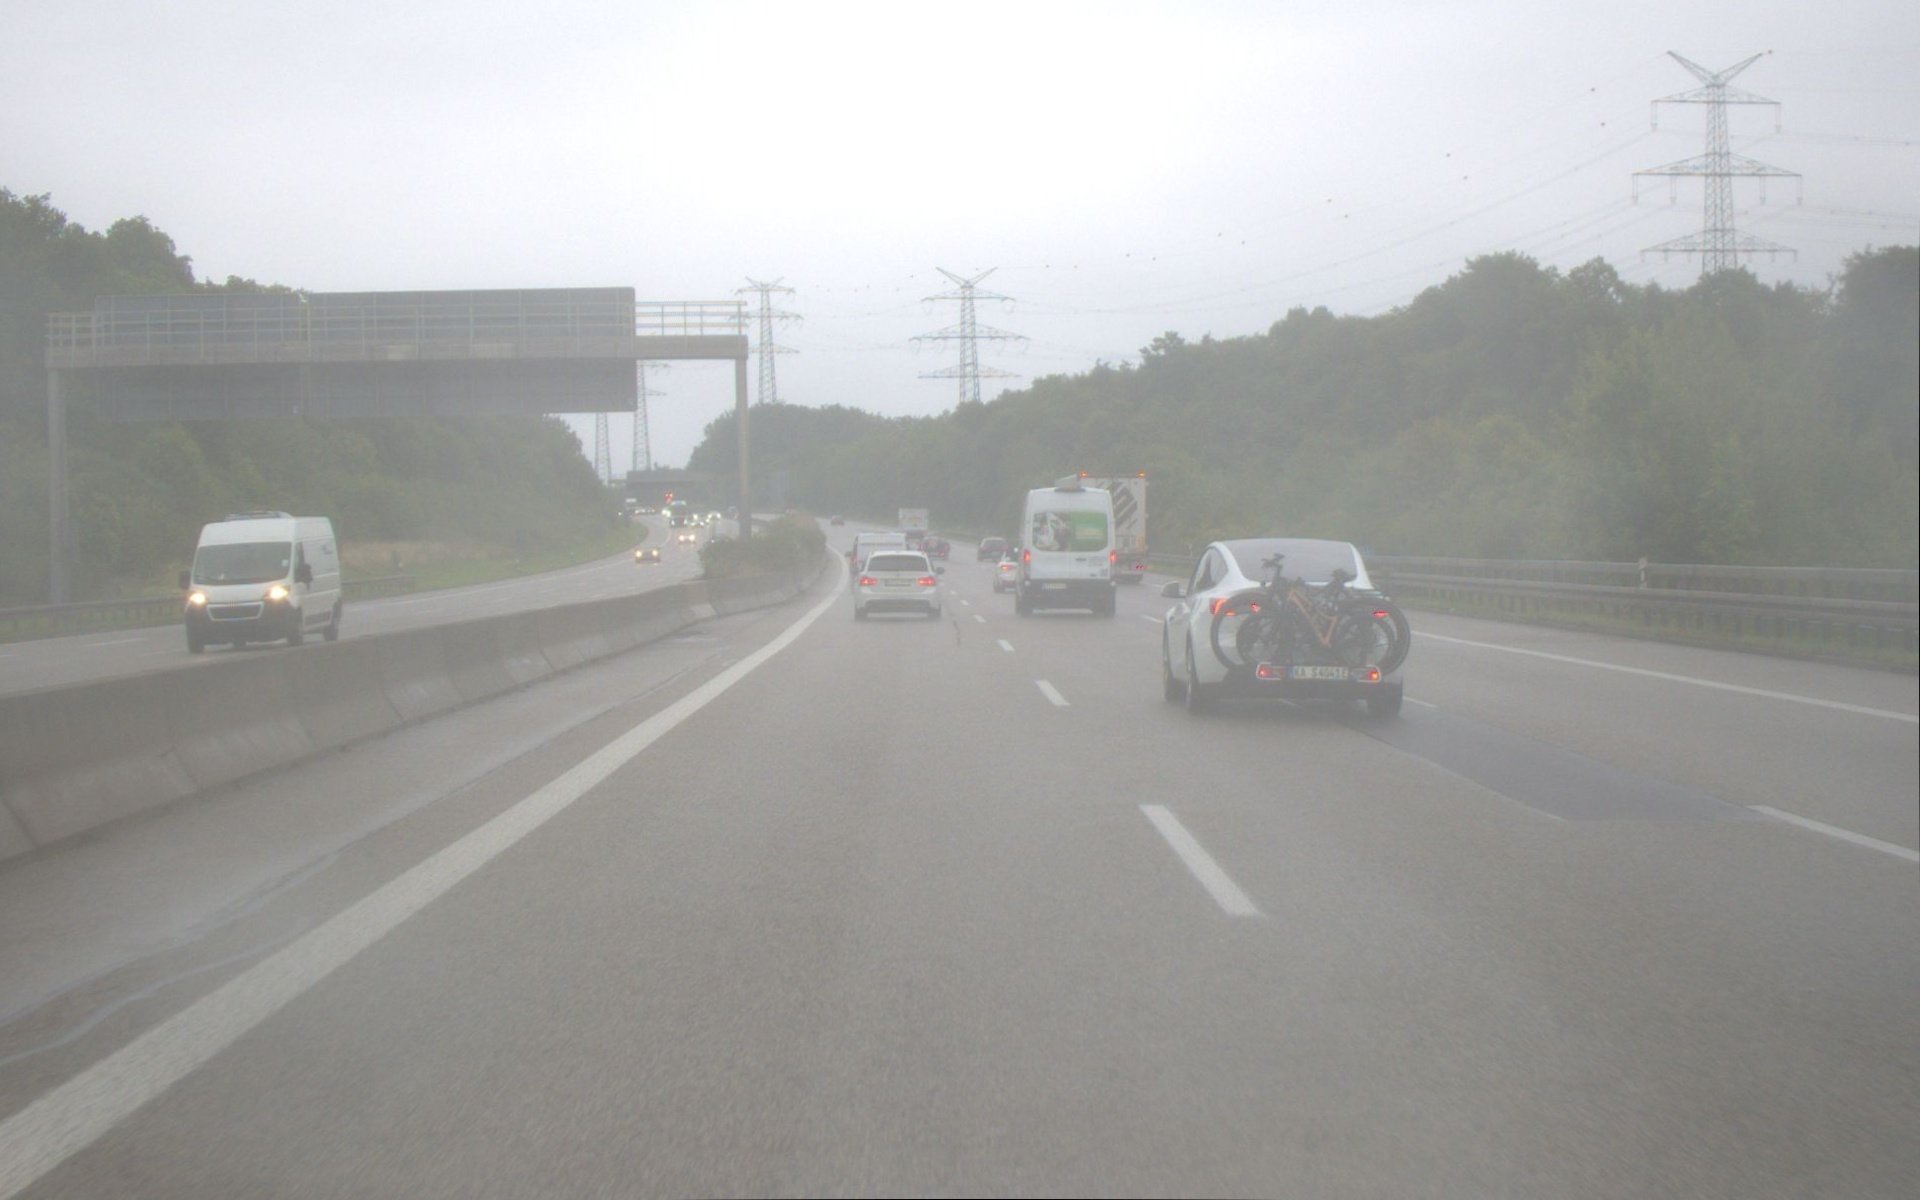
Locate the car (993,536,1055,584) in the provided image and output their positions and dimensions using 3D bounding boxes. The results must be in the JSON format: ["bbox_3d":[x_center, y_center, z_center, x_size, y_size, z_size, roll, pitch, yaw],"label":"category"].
[{"bbox_3d":[1.981,-1.271,108.000,1.857,1.417,4.000,0,2,0],"label":"car"}]

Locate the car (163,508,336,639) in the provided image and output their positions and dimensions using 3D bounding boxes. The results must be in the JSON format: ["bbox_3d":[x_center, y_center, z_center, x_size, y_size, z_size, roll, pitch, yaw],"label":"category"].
[{"bbox_3d":[-13.402,-0.526,65.206,2.276,2.323,6.176,-1,1,-3],"label":"car"}]

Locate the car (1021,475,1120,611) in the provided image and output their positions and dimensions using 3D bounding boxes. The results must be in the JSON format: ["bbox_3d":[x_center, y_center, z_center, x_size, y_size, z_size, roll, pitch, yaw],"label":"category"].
[{"bbox_3d":[2.348,-1.224,74.168,1.993,2.854,4.000,1,1,0],"label":"car"}]

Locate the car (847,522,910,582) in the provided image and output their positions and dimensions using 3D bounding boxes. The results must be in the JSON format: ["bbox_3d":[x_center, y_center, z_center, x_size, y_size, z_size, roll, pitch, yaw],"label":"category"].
[{"bbox_3d":[-2.484,-1.455,104.932,1.846,1.766,4.000,1,1,-1],"label":"car"}]

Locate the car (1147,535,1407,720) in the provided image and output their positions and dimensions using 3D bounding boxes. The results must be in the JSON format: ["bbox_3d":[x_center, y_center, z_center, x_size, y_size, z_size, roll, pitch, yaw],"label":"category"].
[{"bbox_3d":[2.867,0.193,32.111,1.860,1.562,4.964,0,1,-1],"label":"car"}]

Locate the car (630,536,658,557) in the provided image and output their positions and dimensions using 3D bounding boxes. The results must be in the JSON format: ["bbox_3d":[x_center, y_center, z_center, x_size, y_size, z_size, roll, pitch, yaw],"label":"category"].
[{"bbox_3d":[-22.146,-3.767,240.781,1.862,1.437,4.001,-1,1,-5],"label":"car"}]

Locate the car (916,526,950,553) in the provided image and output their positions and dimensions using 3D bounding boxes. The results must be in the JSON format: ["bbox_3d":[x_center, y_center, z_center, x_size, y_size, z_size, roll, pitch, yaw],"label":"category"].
[{"bbox_3d":[-1.673,-3.735,213.532,1.993,1.568,4.000,-2,1,-1],"label":"car"}]

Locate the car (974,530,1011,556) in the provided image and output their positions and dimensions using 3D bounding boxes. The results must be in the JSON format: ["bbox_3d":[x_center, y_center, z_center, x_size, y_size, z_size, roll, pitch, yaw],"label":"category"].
[{"bbox_3d":[1.931,-3.431,206.588,1.993,1.481,4.000,-3,1,-1],"label":"car"}]

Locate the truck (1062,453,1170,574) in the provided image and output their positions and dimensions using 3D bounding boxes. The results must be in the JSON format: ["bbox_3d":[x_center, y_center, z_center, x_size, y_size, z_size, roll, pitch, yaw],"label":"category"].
[{"bbox_3d":[5.796,-3.221,130.171,3.603,4.317,13.200,0,1,1],"label":"truck"}]

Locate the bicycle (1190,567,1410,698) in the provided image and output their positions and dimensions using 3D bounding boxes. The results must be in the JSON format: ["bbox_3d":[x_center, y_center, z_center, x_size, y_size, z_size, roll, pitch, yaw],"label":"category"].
[{"bbox_3d":[2.869,0.269,29.146,1.753,1.087,0.914,0,0,-2],"label":"bicycle"}]

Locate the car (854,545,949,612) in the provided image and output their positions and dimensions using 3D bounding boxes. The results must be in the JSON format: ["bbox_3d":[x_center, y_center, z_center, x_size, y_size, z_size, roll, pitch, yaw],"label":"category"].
[{"bbox_3d":[-1.206,-0.463,70.800,1.866,1.284,4.000,-1,1,-1],"label":"car"}]

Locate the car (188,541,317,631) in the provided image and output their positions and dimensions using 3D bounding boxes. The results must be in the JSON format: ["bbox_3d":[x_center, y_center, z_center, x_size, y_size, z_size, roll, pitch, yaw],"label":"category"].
[{"bbox_3d":[-17.916,-0.402,87.357,1.993,2.160,6.417,-1,1,-1],"label":"car"}]
